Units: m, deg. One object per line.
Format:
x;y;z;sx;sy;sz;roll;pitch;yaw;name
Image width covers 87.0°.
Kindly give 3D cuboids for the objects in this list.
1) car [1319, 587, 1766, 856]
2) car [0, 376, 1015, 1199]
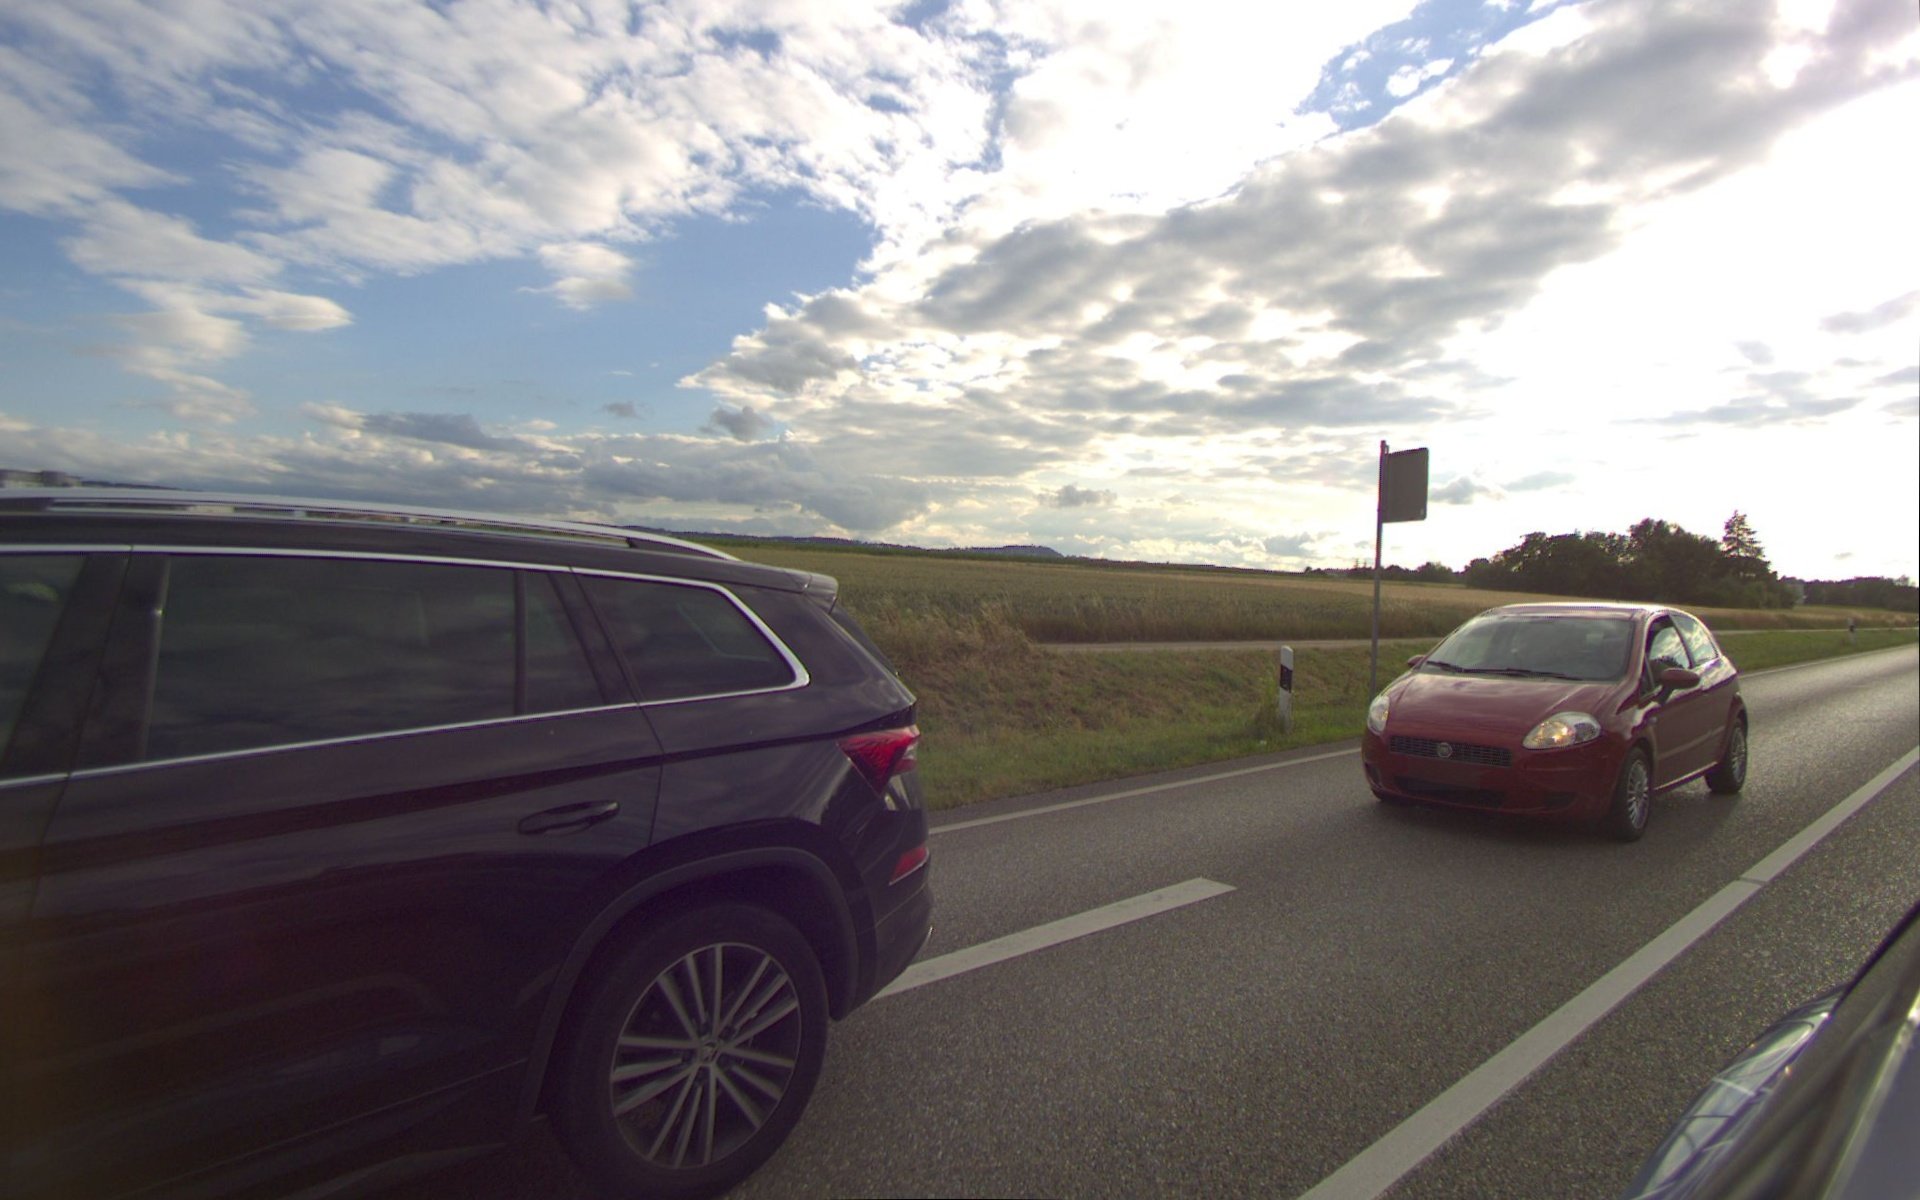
4.450;0.655;7.500;3.840;1.475;1.710;-1;0;-41;car
-2.126;0.518;2.228;4.477;1.730;1.839;-1;0;-41;car
